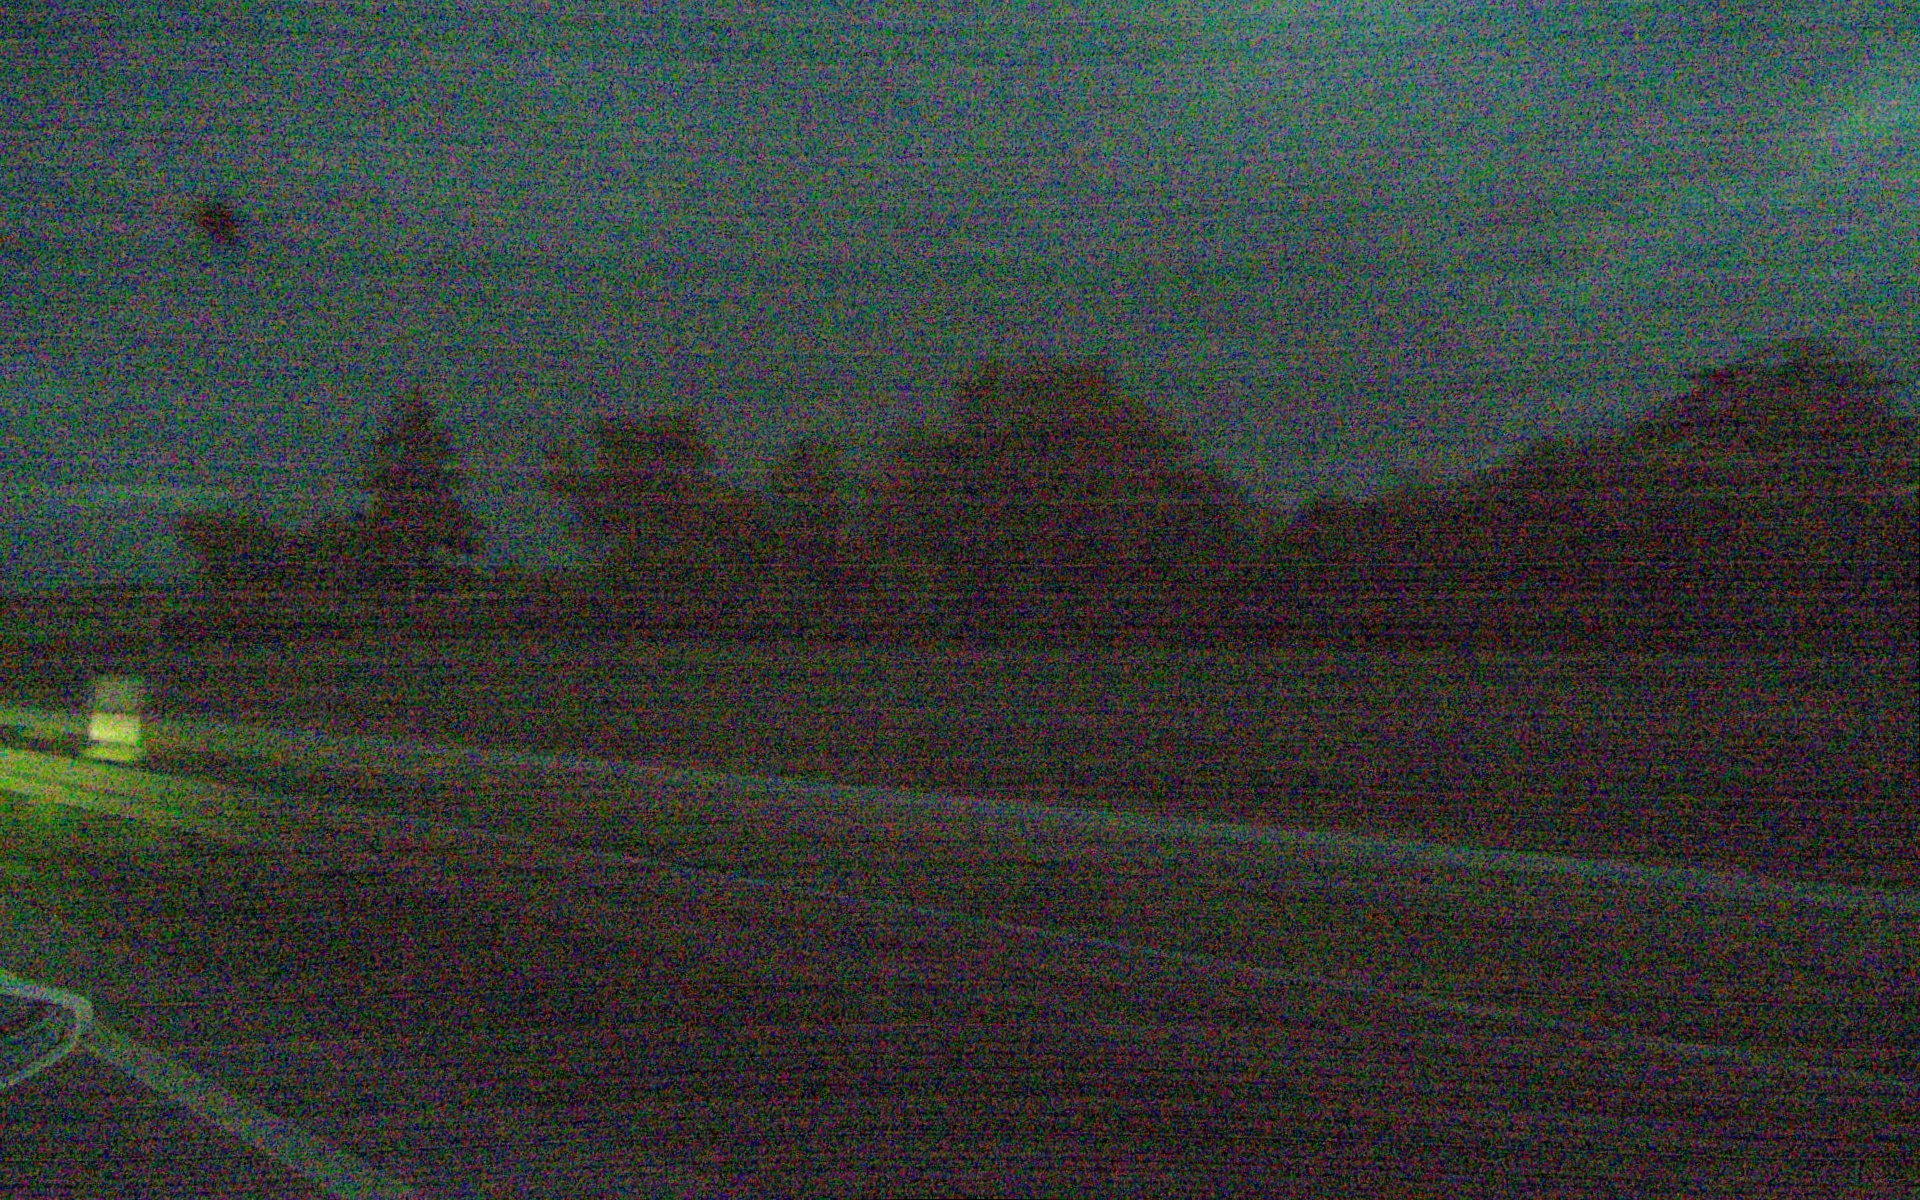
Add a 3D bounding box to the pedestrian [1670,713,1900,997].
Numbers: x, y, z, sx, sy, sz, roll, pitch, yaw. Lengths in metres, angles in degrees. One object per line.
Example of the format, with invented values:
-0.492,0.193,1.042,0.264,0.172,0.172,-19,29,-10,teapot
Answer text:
5.723,1.687,7.054,1.102,1.664,1.060,-1,-1,32,pedestrian
